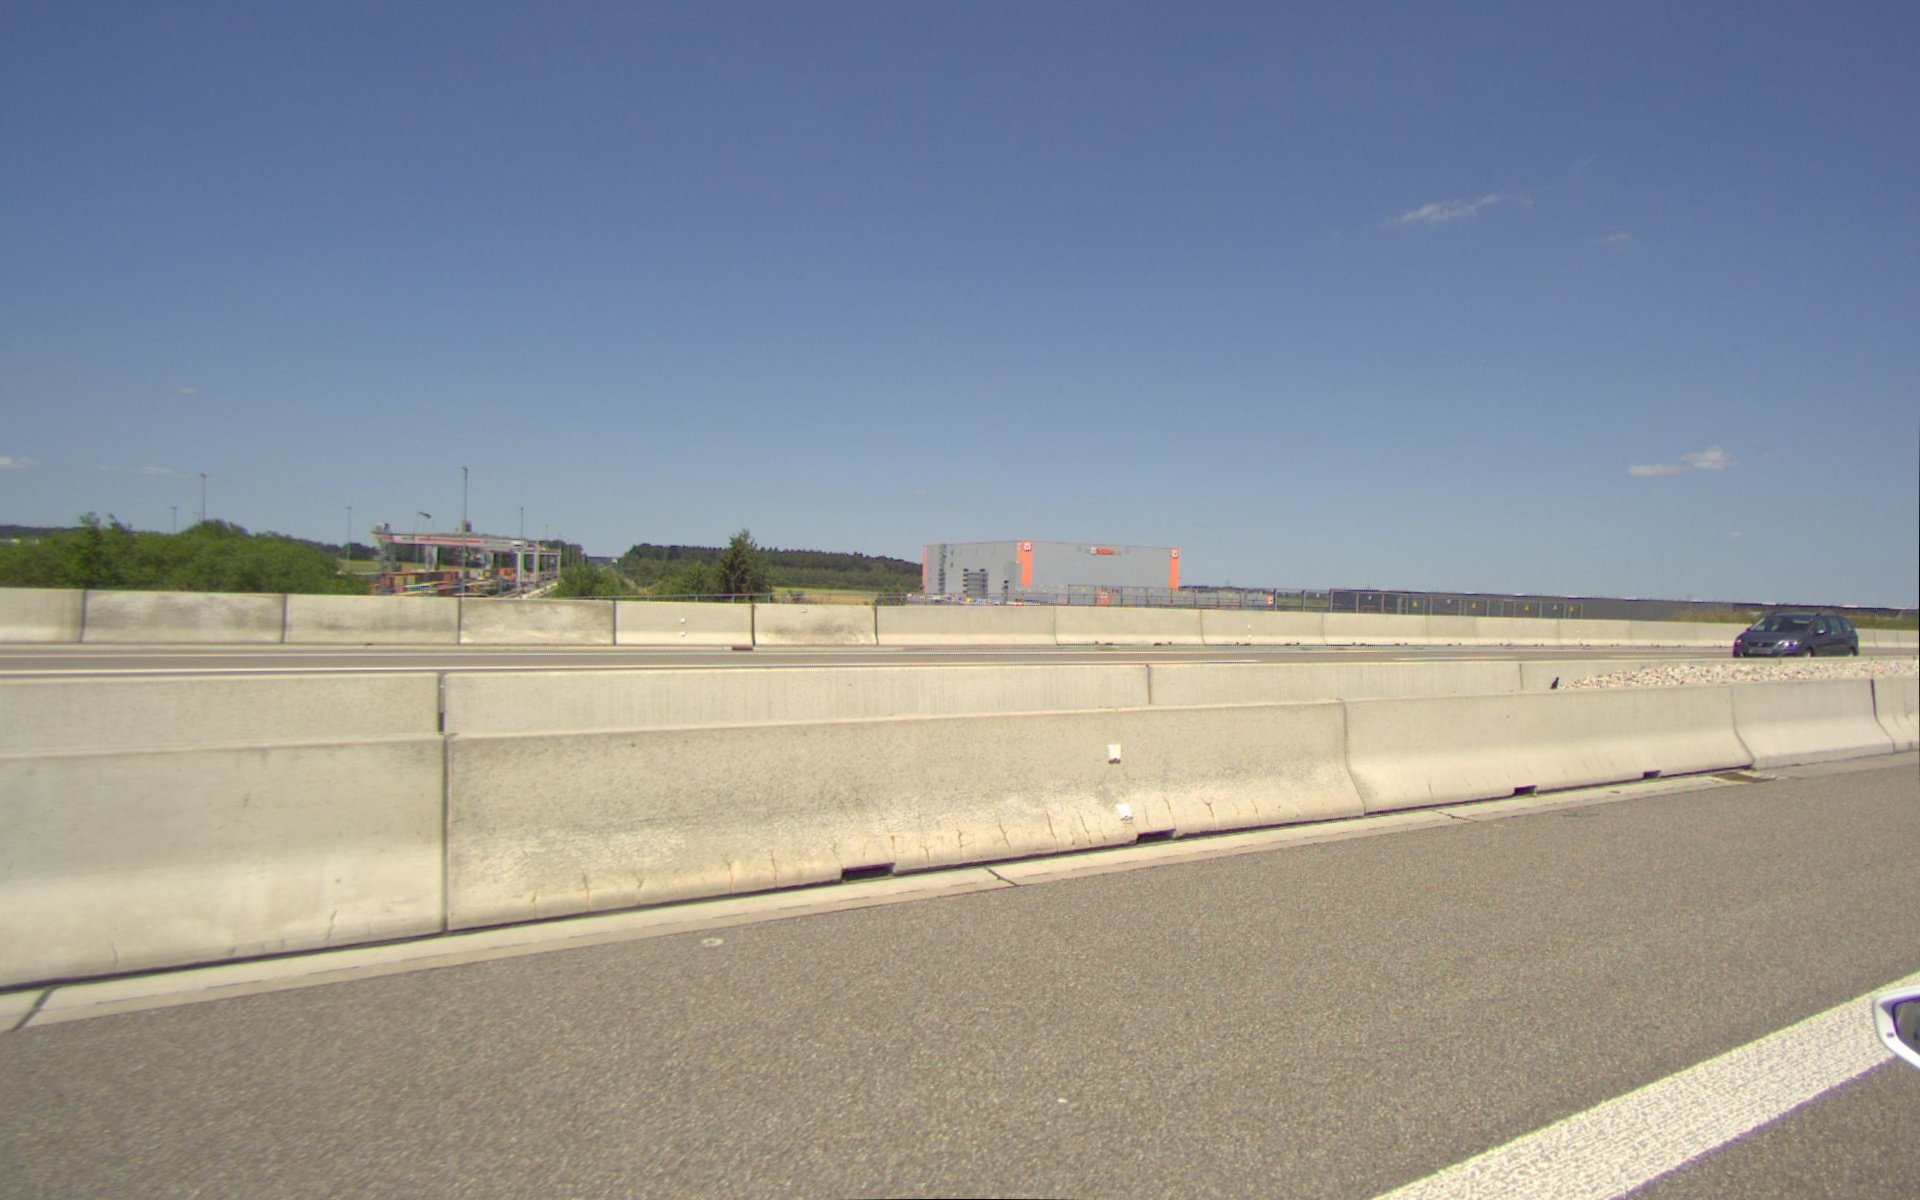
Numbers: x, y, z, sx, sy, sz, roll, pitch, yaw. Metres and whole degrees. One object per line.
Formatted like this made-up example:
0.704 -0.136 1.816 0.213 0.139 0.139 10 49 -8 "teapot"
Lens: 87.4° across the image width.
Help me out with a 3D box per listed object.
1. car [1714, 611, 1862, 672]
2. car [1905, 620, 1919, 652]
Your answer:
25.700 1.266 31.143 4.954 1.709 1.876 1 0 -29 "car"
46.520 1.736 47.263 4.235 1.478 1.900 1 0 -31 "car"
